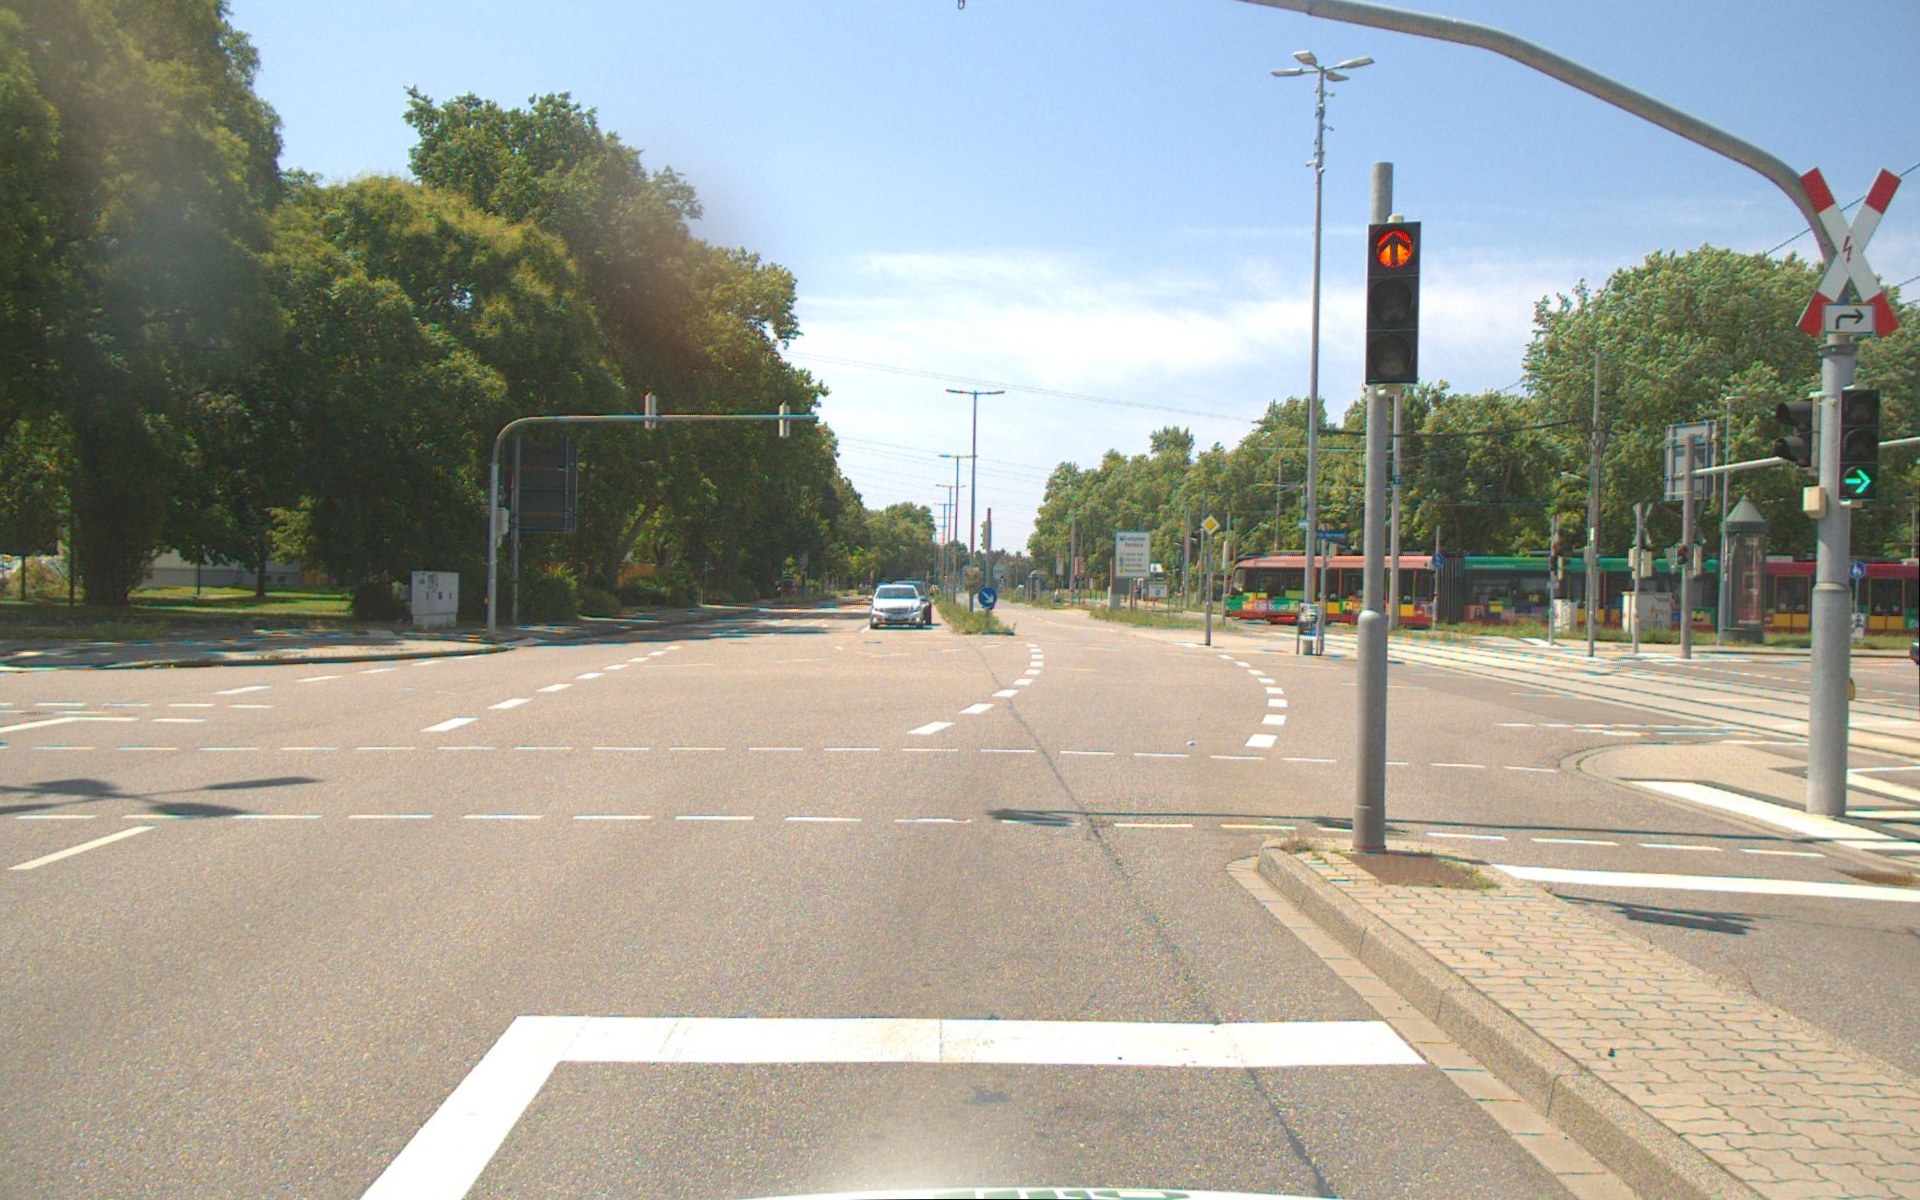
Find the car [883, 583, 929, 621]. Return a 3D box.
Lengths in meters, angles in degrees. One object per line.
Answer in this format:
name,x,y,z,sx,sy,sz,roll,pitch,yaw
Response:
car,-2.043,0.053,63.325,1.676,1.389,3.865,1,1,-1

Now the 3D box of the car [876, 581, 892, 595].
car,-8.332,-1.349,181.015,1.637,1.516,3.710,1,1,-1

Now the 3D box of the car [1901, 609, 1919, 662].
car,28.510,1.023,47.039,3.464,1.488,1.622,1,1,-33

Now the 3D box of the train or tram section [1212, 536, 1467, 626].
train or tram section,17.827,-0.781,79.071,2.894,3.878,12.894,4,-3,-38

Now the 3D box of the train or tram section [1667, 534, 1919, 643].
train or tram section,37.342,-0.380,69.940,13.715,3.988,2.922,2,-3,-2

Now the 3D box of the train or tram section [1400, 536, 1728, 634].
train or tram section,26.146,-0.703,72.107,13.141,3.878,2.922,1,-3,23

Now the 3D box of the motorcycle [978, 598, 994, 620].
motorcycle,1.558,0.525,99.792,0.830,1.277,2.448,2,0,-2

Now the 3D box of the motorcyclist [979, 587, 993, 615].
motorcyclist,1.564,0.064,99.757,0.774,1.671,1.211,2,0,-1

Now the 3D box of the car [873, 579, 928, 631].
car,-1.996,0.147,56.352,1.748,1.657,3.865,1,1,-1

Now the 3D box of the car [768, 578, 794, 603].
car,-15.867,-0.856,146.851,1.955,2.048,3.997,4,0,-4
